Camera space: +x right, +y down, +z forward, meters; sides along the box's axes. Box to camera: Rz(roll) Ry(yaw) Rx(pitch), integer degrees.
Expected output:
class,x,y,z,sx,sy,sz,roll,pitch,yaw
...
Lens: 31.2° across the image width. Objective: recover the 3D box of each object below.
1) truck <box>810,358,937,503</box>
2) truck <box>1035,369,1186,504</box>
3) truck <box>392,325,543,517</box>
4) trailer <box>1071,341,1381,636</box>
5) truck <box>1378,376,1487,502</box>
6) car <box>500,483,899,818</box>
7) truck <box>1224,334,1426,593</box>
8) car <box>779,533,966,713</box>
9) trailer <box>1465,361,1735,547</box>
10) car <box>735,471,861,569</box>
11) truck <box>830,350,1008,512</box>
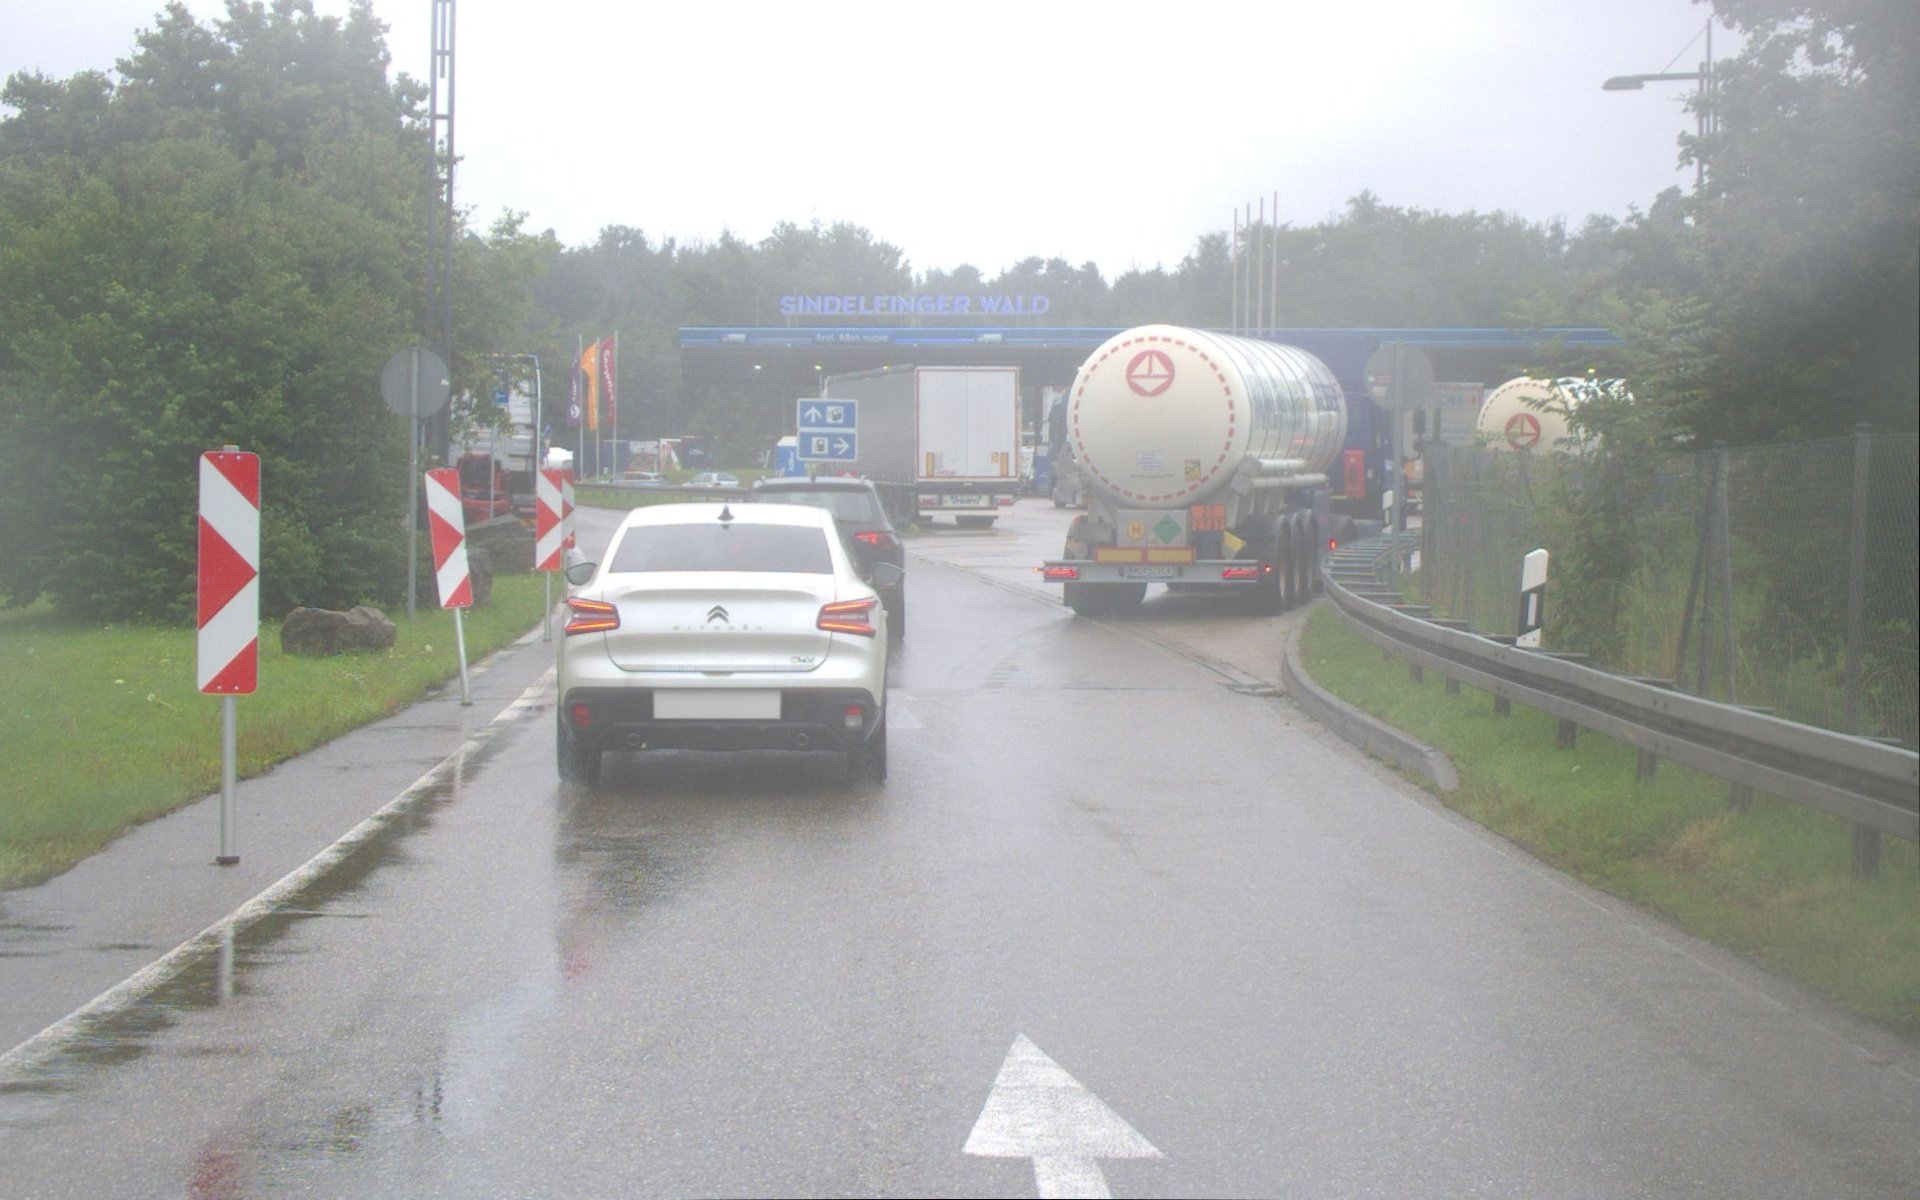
class,x,y,z,sx,sy,sz,roll,pitch,yaw
truck,-2.446,-4.674,94.792,2.370,3.860,7.014,-1,3,-11
truck,4.822,-5.365,112.376,3.233,4.174,8.447,1,3,-9
truck,-10.566,-3.783,73.261,2.914,3.890,6.319,0,3,-11
trailer,3.525,-1.429,42.812,1.982,3.213,10.315,1,2,15
truck,14.516,-4.983,105.844,2.425,3.792,4.002,0,3,-6
car,-1.363,0.219,19.317,1.993,1.673,4.000,0,1,-2
truck,5.309,-1.971,49.495,2.054,3.518,4.743,1,2,16
car,-0.855,0.203,35.432,1.742,1.661,4.000,3,1,0
trailer,12.899,-2.914,68.471,2.135,3.428,10.237,2,3,29
car,-2.615,-1.301,54.642,1.878,1.456,4.001,1,2,-4
truck,-1.208,-4.344,88.431,2.370,3.860,12.460,-1,3,-11
